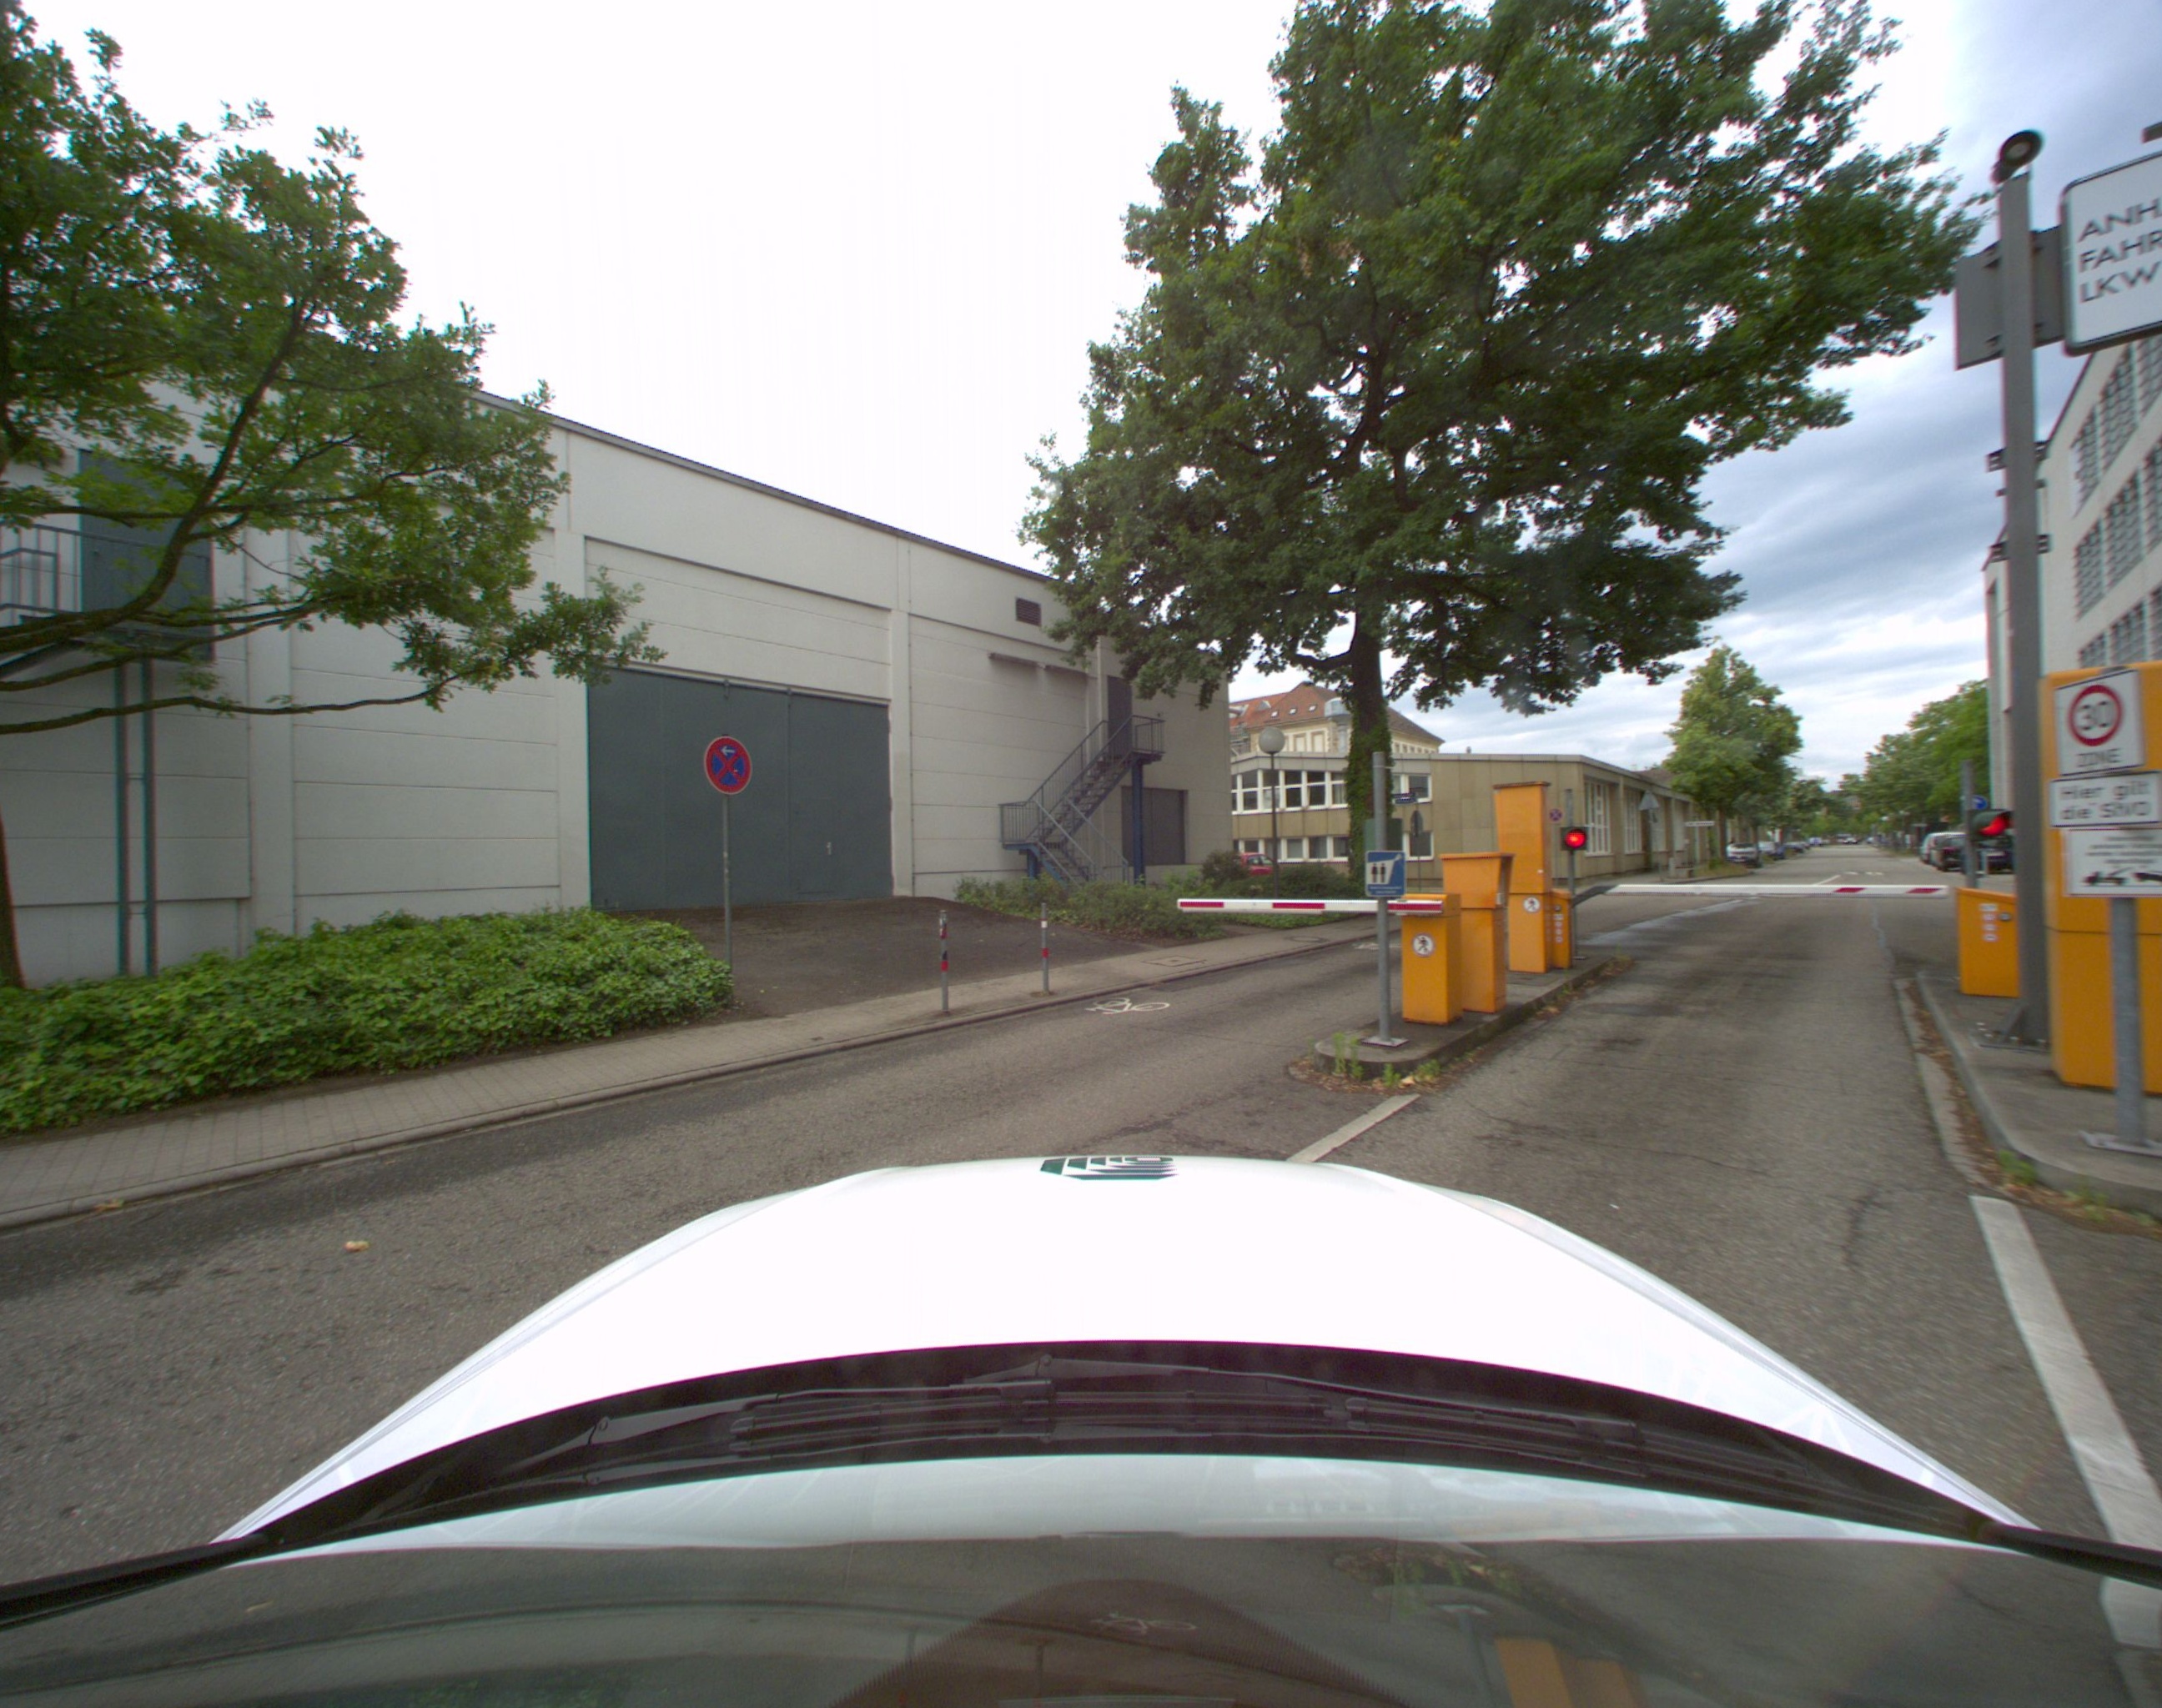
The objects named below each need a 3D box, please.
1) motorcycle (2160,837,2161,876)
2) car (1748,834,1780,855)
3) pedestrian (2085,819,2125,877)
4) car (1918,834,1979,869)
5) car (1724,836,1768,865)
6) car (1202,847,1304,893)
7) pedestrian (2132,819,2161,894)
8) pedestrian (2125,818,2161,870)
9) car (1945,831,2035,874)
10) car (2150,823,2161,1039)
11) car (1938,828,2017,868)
[{"bbox_3d":[33.439,0.019,24.355,2.665,1.148,0.756,-3,2,-22],"label":"motorcycle"},{"bbox_3d":[54.558,-0.766,65.046,1.753,1.601,4.024,-1,0,43],"label":"car"},{"bbox_3d":[30.714,-0.185,24.430,0.492,1.714,0.690,-1,0,-42],"label":"pedestrian"},{"bbox_3d":[48.859,-0.163,45.946,1.975,1.782,4.455,-4,-2,43],"label":"car"},{"bbox_3d":[39.210,-0.222,47.999,1.753,1.601,4.024,-1,0,42],"label":"car"},{"bbox_3d":[6.415,0.555,30.069,1.845,1.530,4.024,-1,0,43],"label":"car"},{"bbox_3d":[24.997,0.046,18.858,0.689,1.714,0.492,-1,0,40],"label":"pedestrian"},{"bbox_3d":[31.418,-0.298,24.068,0.475,1.527,0.638,-1,0,-44],"label":"pedestrian"},{"bbox_3d":[37.040,-0.045,33.291,1.975,1.623,4.455,-3,-2,43],"label":"car"},{"bbox_3d":[6.438,0.528,3.353,1.765,1.419,4.155,-1,0,43],"label":"car"},{"bbox_3d":[40.169,-0.262,36.601,1.975,1.623,4.454,-4,-2,44],"label":"car"}]
